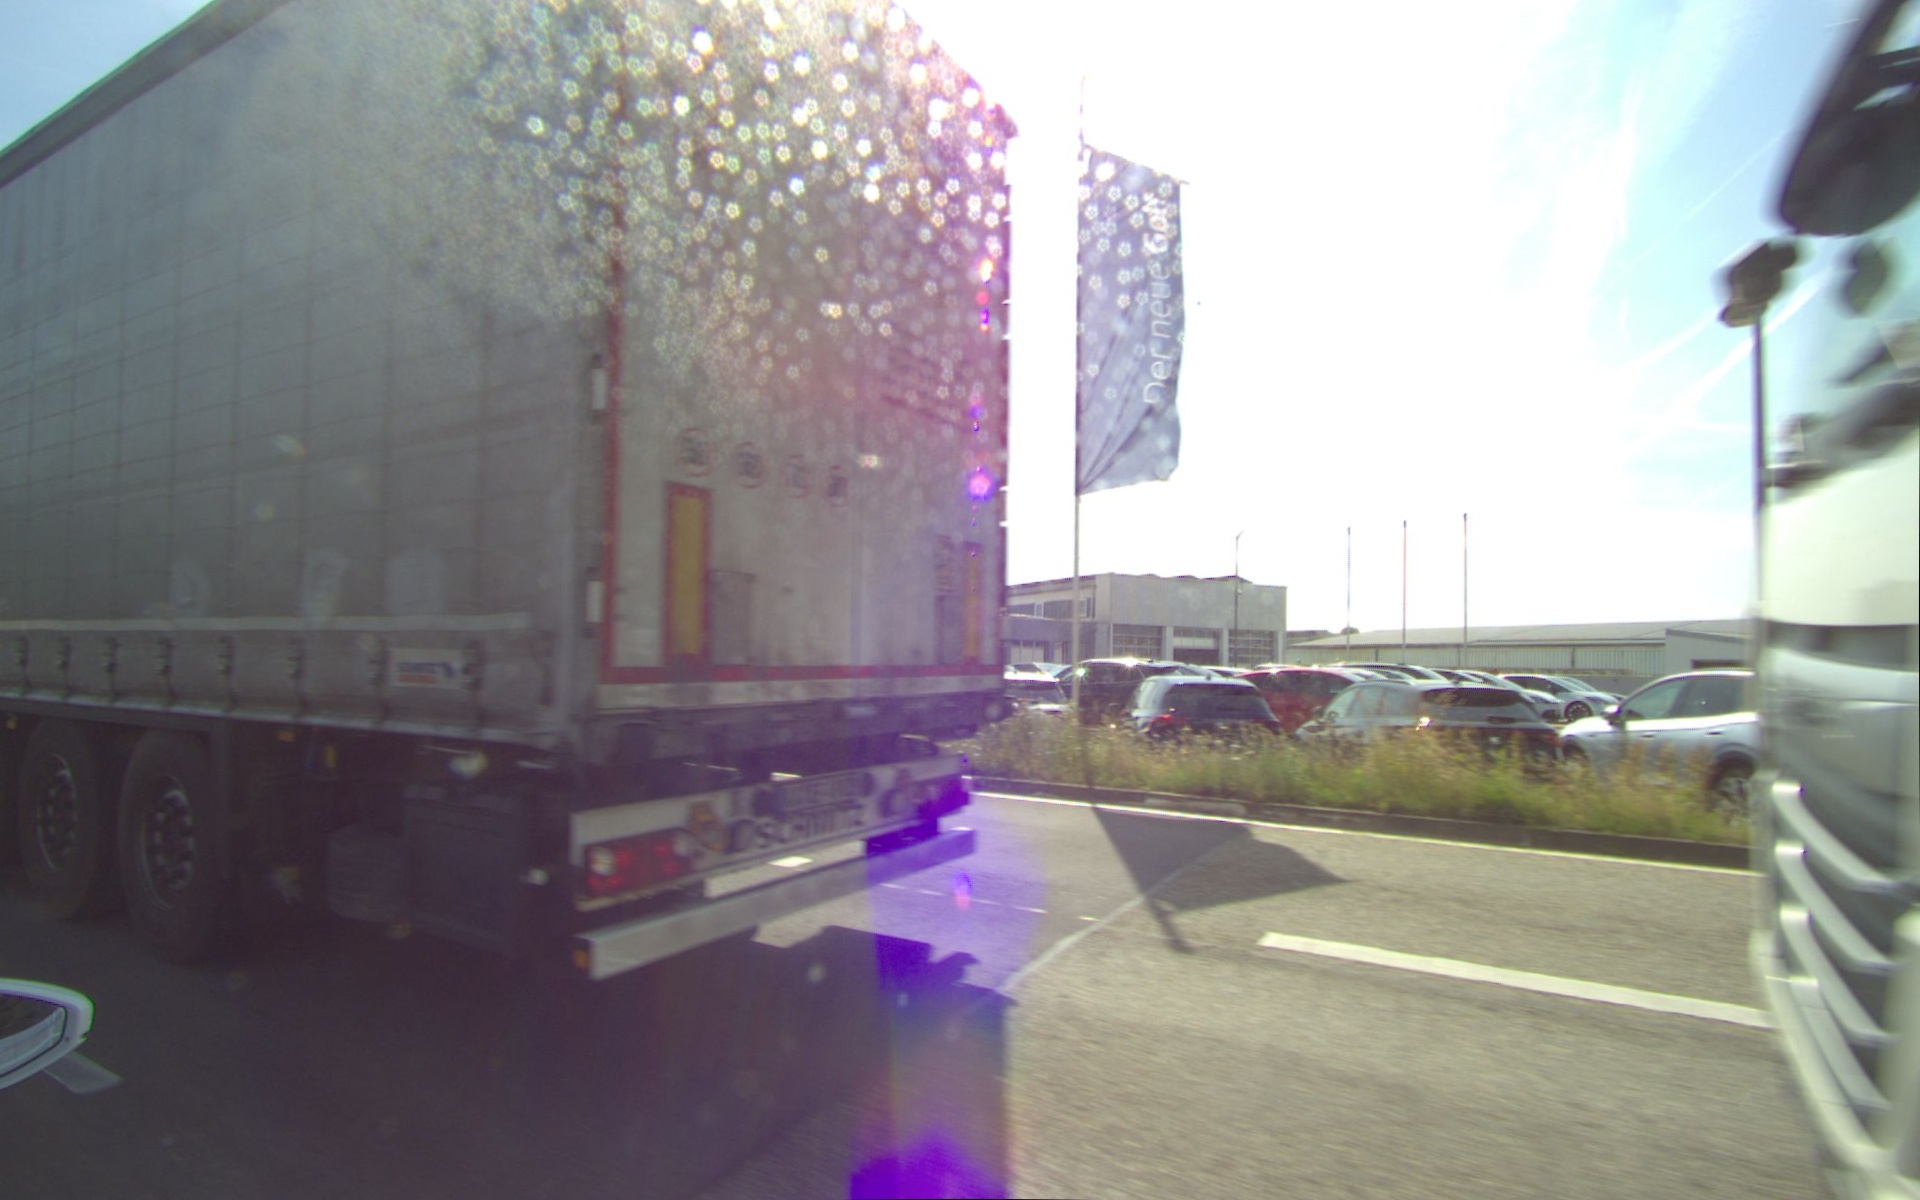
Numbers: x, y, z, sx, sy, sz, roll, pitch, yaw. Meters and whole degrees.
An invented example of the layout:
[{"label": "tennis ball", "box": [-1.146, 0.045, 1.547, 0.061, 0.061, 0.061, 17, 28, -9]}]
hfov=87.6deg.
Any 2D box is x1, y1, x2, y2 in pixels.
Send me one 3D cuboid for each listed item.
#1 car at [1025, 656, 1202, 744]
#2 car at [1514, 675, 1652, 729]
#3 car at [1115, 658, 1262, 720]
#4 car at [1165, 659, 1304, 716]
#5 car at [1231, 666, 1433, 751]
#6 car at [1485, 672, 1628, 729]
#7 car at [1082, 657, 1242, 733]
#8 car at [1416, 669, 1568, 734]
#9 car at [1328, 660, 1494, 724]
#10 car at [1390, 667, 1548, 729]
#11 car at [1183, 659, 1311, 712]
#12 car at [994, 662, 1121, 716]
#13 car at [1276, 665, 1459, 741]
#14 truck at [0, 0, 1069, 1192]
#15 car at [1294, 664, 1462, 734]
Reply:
[{"label": "car", "box": [3.437, 2.172, 22.469, 3.544, 1.707, 1.754, -1, -1, 32]}, {"label": "car", "box": [20.927, 3.378, 33.767, 1.543, 1.520, 3.666, 0, -1, -34]}, {"label": "car", "box": [6.090, 2.323, 26.742, 3.544, 1.427, 1.555, -1, -1, 32]}, {"label": "car", "box": [7.833, 2.452, 28.621, 3.544, 1.427, 1.555, -1, -1, 32]}, {"label": "car", "box": [7.394, 2.091, 19.976, 3.544, 1.427, 1.555, -1, -1, 32]}, {"label": "car", "box": [19.055, 3.178, 32.116, 1.543, 1.520, 3.666, 0, -1, -34]}, {"label": "car", "box": [4.919, 2.269, 24.499, 3.544, 1.628, 1.555, -1, -1, 32]}, {"label": "car", "box": [15.391, 2.886, 29.074, 1.549, 1.608, 3.652, 1, -1, -45]}, {"label": "car", "box": [11.684, 2.335, 26.074, 3.650, 1.427, 1.550, -1, -1, 43]}, {"label": "car", "box": [13.874, 2.624, 27.371, 3.644, 1.427, 1.552, -1, -1, 39]}, {"label": "car", "box": [8.880, 2.615, 31.059, 3.544, 1.427, 1.555, -1, -1, 32]}, {"label": "car", "box": [2.961, 2.675, 30.546, 3.544, 1.427, 1.555, -1, -1, 32]}, {"label": "car", "box": [8.947, 2.202, 22.056, 3.544, 1.427, 1.555, -1, -1, 32]}, {"label": "truck", "box": [-7.211, -0.500, 8.213, 16.465, 4.320, 2.886, 0, -2, 32]}, {"label": "car", "box": [10.058, 2.329, 24.153, 3.544, 1.427, 1.555, -1, -1, 32]}]
